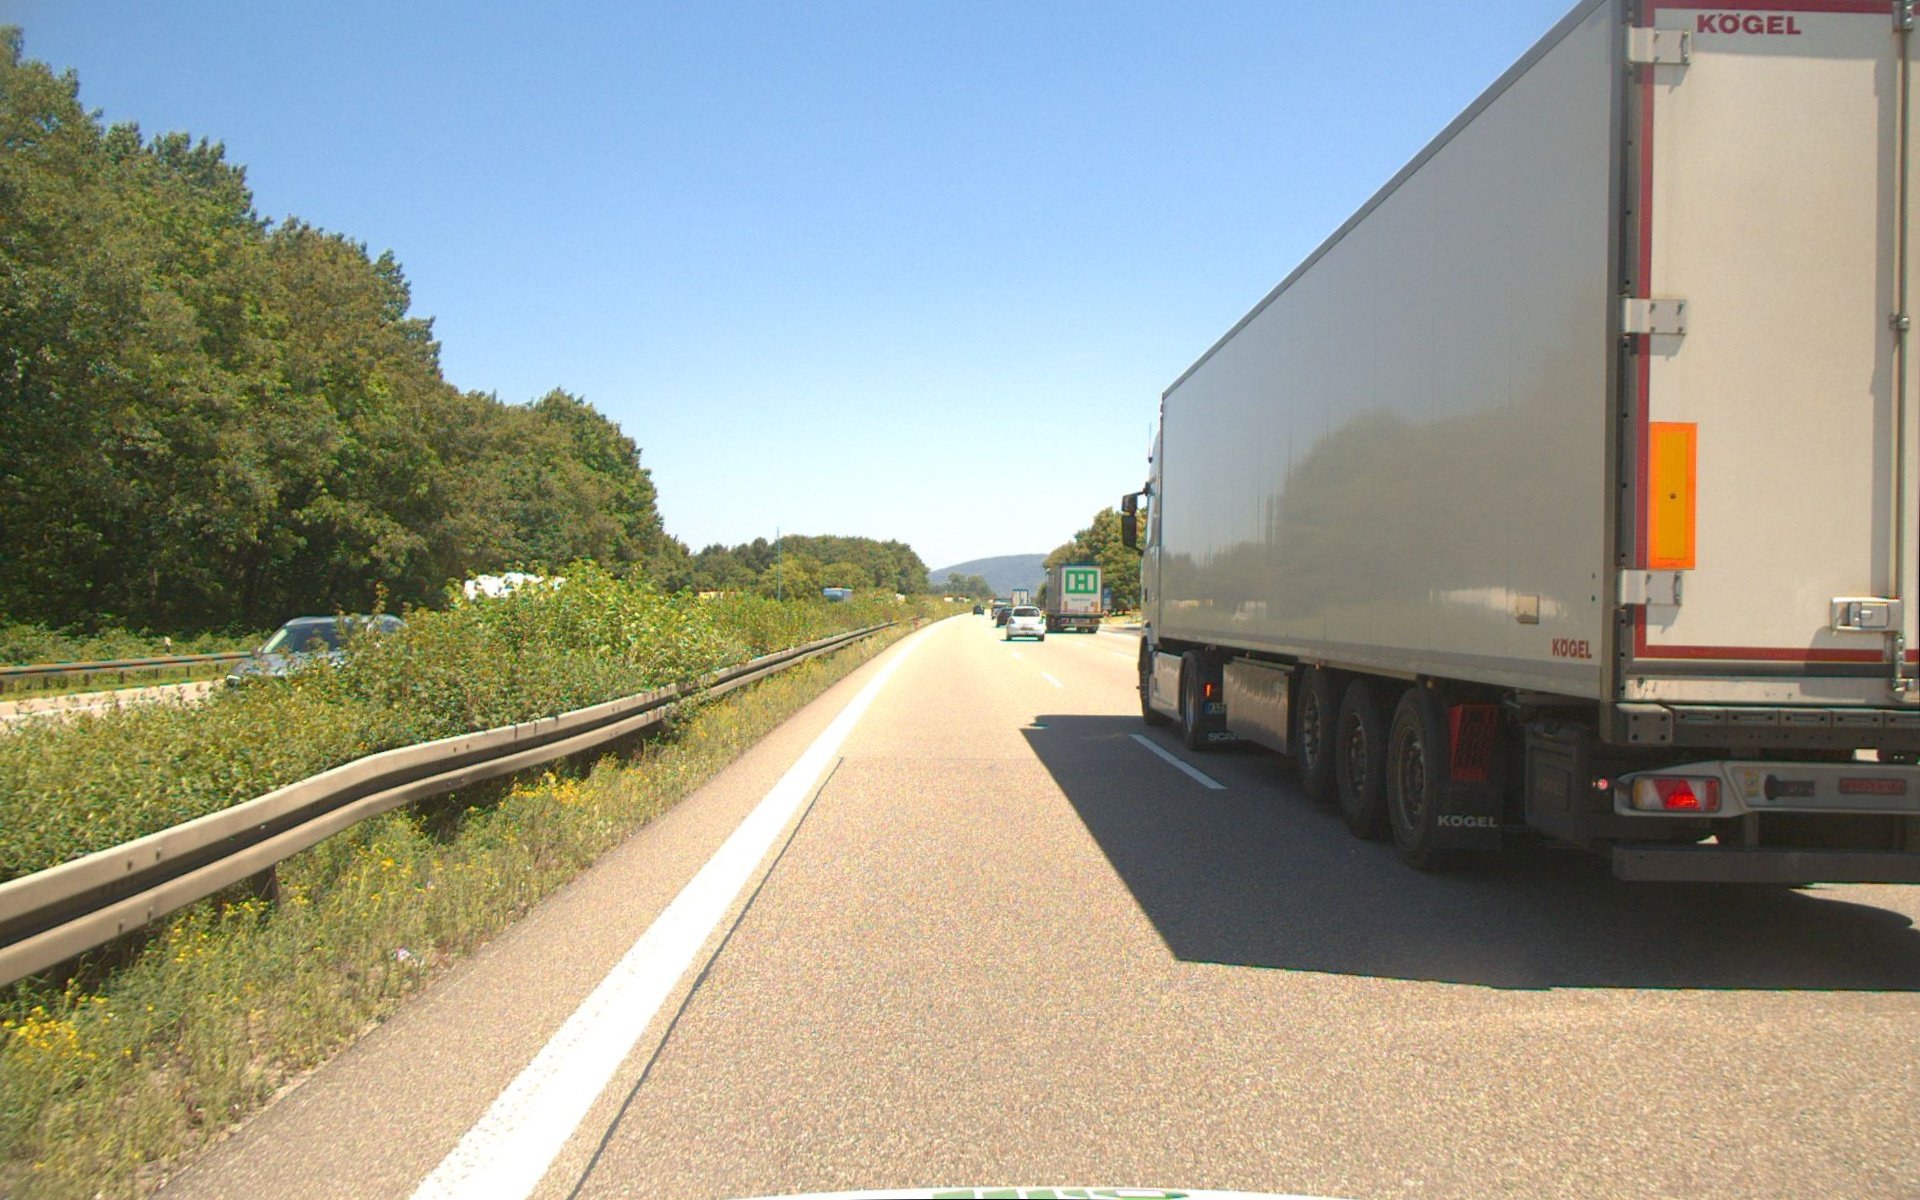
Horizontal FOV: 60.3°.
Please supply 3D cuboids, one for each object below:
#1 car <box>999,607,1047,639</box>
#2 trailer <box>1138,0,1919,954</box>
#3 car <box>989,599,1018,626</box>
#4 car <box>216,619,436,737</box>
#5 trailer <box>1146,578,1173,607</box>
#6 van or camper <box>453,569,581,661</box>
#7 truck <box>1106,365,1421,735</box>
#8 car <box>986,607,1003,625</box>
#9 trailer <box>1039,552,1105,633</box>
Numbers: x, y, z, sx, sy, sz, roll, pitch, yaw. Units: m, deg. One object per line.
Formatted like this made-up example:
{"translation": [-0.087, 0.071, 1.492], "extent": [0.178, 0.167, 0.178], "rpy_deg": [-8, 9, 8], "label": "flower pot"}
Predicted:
{"translation": [2.823, 1.022, 74.719], "extent": [1.776, 1.429, 3.314], "rpy_deg": [0, 0, -5], "label": "car"}
{"translation": [3.756, -0.566, 13.475], "extent": [3.158, 4.216, 12.349], "rpy_deg": [0, 0, -1], "label": "trailer"}
{"translation": [3.151, 0.900, 119.240], "extent": [1.857, 1.926, 4.002], "rpy_deg": [-1, 0, 4], "label": "car"}
{"translation": [-8.995, 1.044, 23.816], "extent": [1.775, 1.513, 4.013], "rpy_deg": [0, 0, -3], "label": "car"}
{"translation": [27.807, -0.972, 230.144], "extent": [3.116, 4.004, 11.560], "rpy_deg": [0, 0, 10], "label": "trailer"}
{"translation": [-16.259, 0.516, 61.354], "extent": [2.370, 3.166, 9.085], "rpy_deg": [0, 0, 0], "label": "van or camper"}
{"translation": [3.683, -0.581, 21.224], "extent": [3.163, 4.230, 4.559], "rpy_deg": [0, 0, -1], "label": "truck"}
{"translation": [3.952, 1.850, 191.911], "extent": [1.844, 2.049, 3.999], "rpy_deg": [0, 0, -1], "label": "car"}
{"translation": [6.801, -0.400, 102.224], "extent": [3.117, 4.708, 12.047], "rpy_deg": [0, 0, -1], "label": "trailer"}
